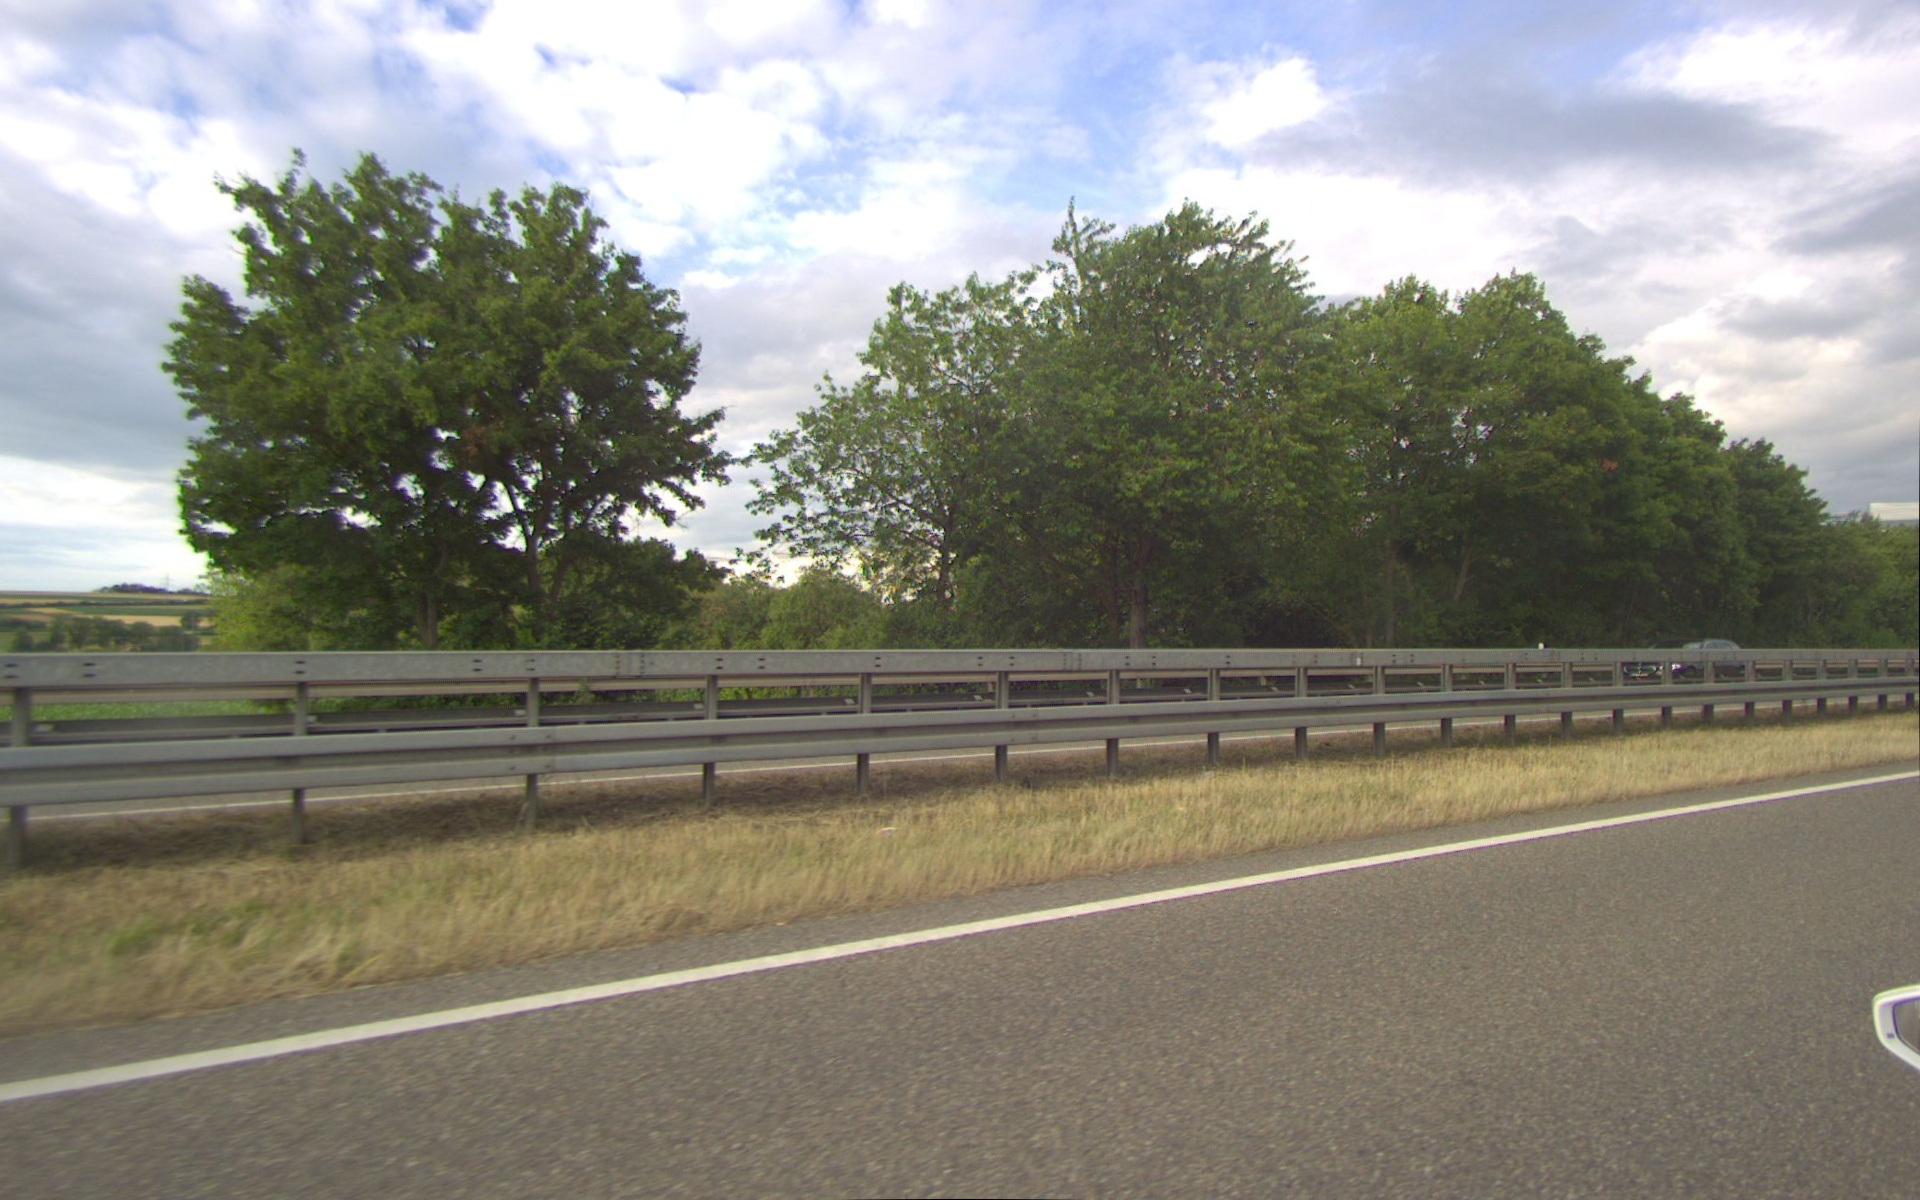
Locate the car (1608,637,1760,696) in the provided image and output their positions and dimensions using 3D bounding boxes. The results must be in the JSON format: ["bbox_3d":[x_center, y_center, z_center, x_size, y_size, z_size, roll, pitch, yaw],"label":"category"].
[{"bbox_3d":[20.587,1.845,28.541,4.533,1.564,1.816,2,-2,-30],"label":"car"}]
